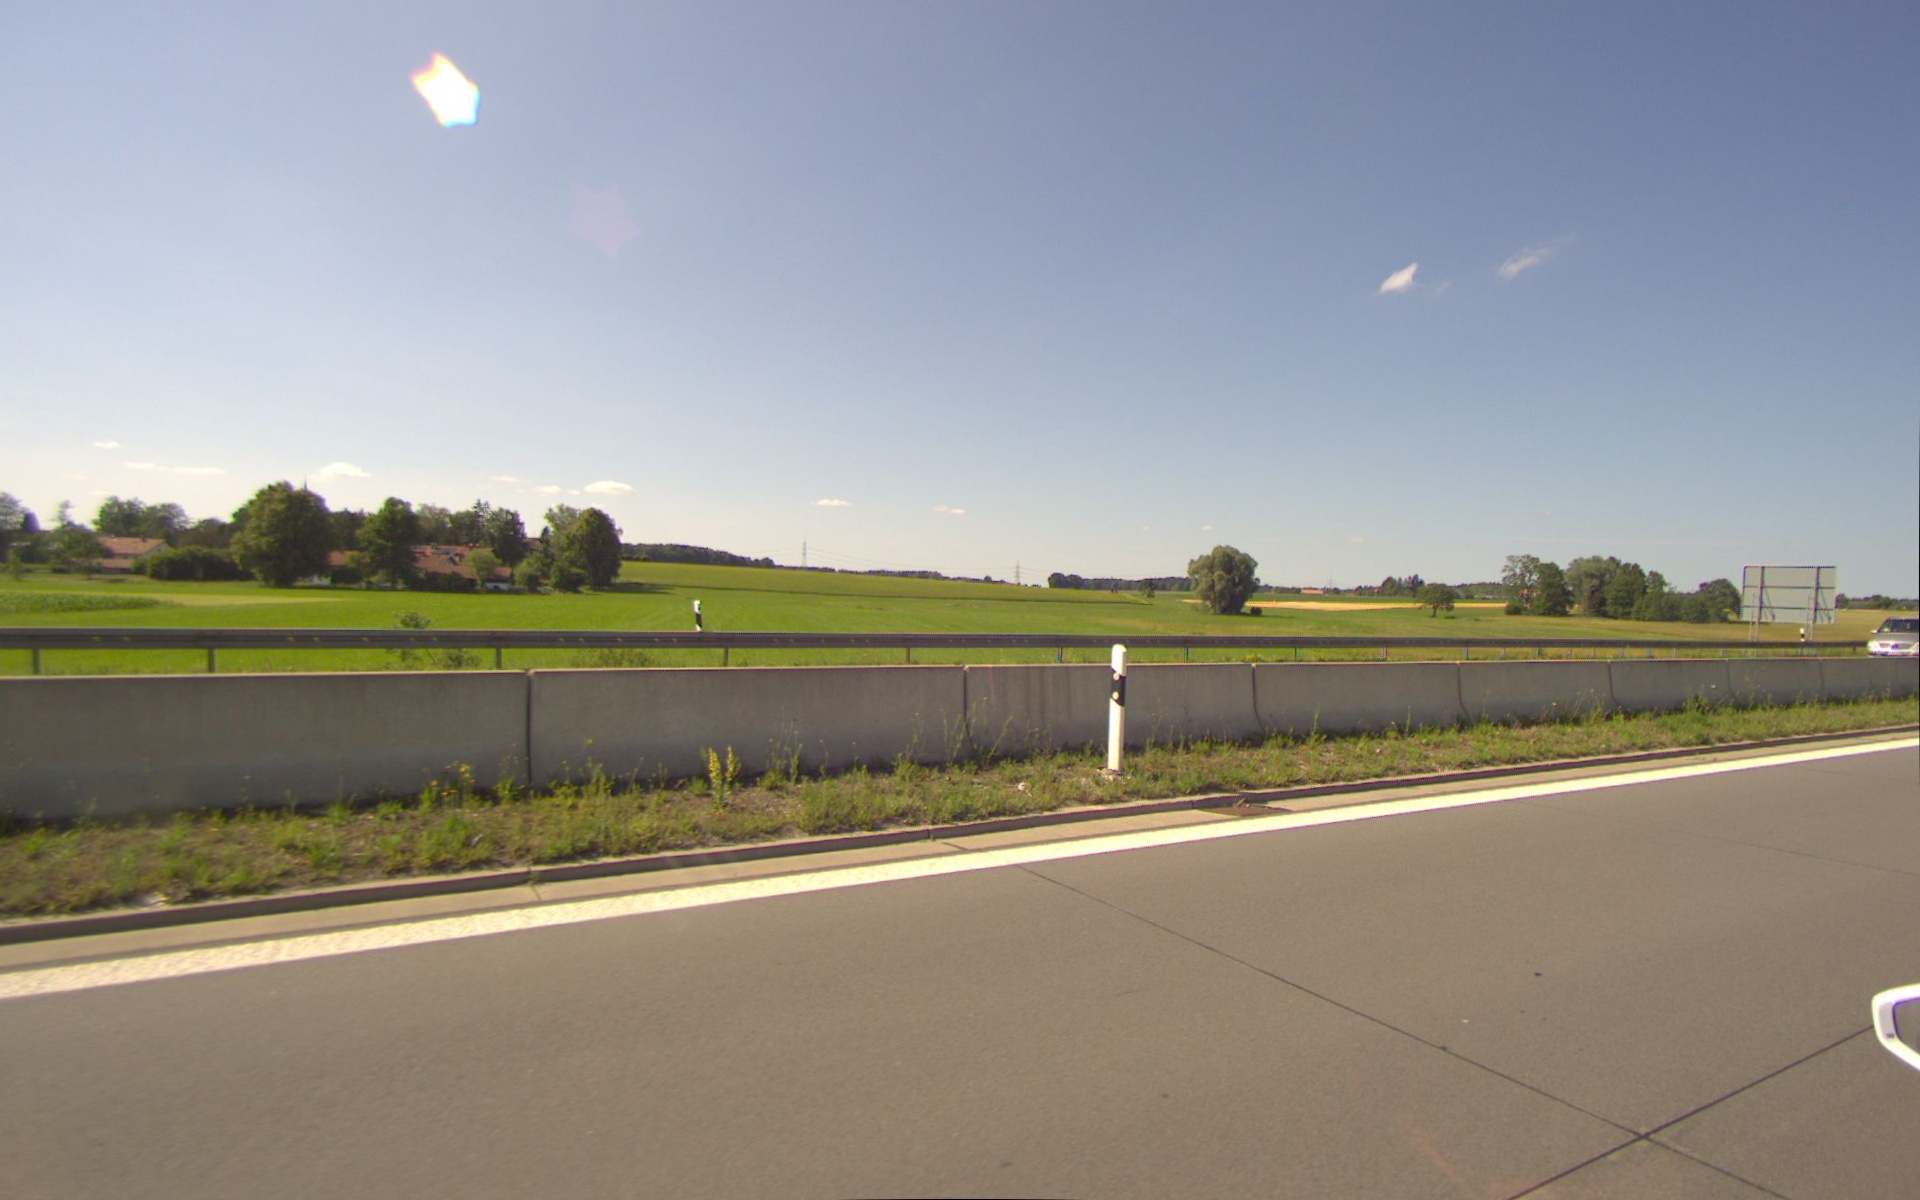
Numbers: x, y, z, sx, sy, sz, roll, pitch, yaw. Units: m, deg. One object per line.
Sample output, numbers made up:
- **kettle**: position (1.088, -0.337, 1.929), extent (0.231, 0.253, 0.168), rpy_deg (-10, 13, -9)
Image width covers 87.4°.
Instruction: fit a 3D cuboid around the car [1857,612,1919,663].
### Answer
- **car**: position (37.247, 1.430, 39.146), extent (5.388, 1.866, 1.944), rpy_deg (1, -1, -32)
